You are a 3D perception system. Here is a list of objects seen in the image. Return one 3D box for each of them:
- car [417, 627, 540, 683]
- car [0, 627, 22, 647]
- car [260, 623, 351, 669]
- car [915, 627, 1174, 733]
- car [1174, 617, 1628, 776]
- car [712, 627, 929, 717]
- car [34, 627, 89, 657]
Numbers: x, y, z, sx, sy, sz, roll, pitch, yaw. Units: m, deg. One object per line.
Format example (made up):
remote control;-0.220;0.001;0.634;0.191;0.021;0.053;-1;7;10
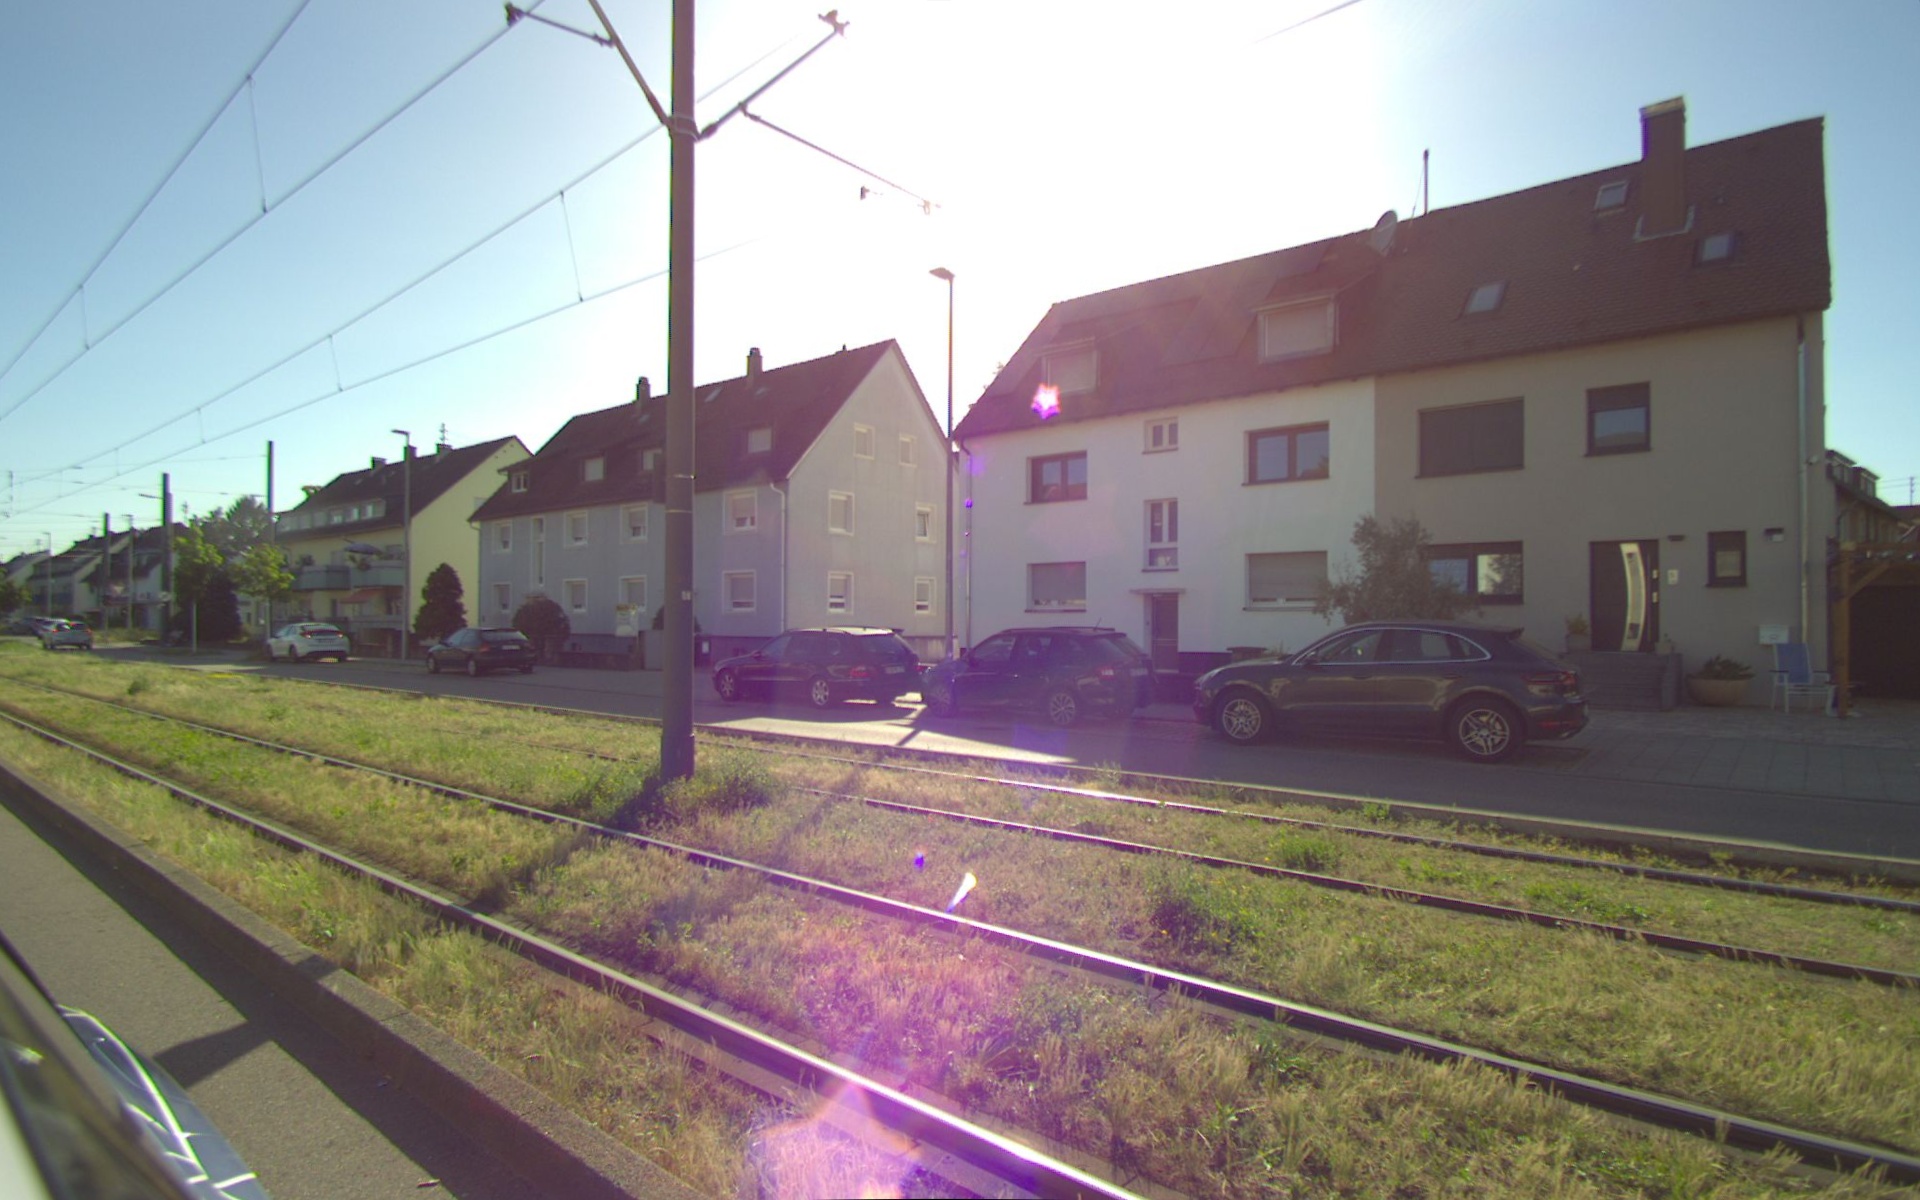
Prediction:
car;-13.828;1.520;28.973;4.091;1.408;1.682;-1;0;41
car;-80.594;3.128;85.187;4.091;1.581;1.991;-1;0;41
car;-24.425;1.657;37.703;4.091;1.542;1.808;-1;0;41
car;1.239;1.194;16.004;3.996;1.479;1.450;-2;-3;40
car;5.316;1.019;12.635;4.856;1.572;1.901;-1;0;41
car;-2.771;1.289;19.427;4.398;1.466;1.636;-1;0;41
car;-48.068;2.227;54.107;4.091;1.475;1.682;-1;0;41
